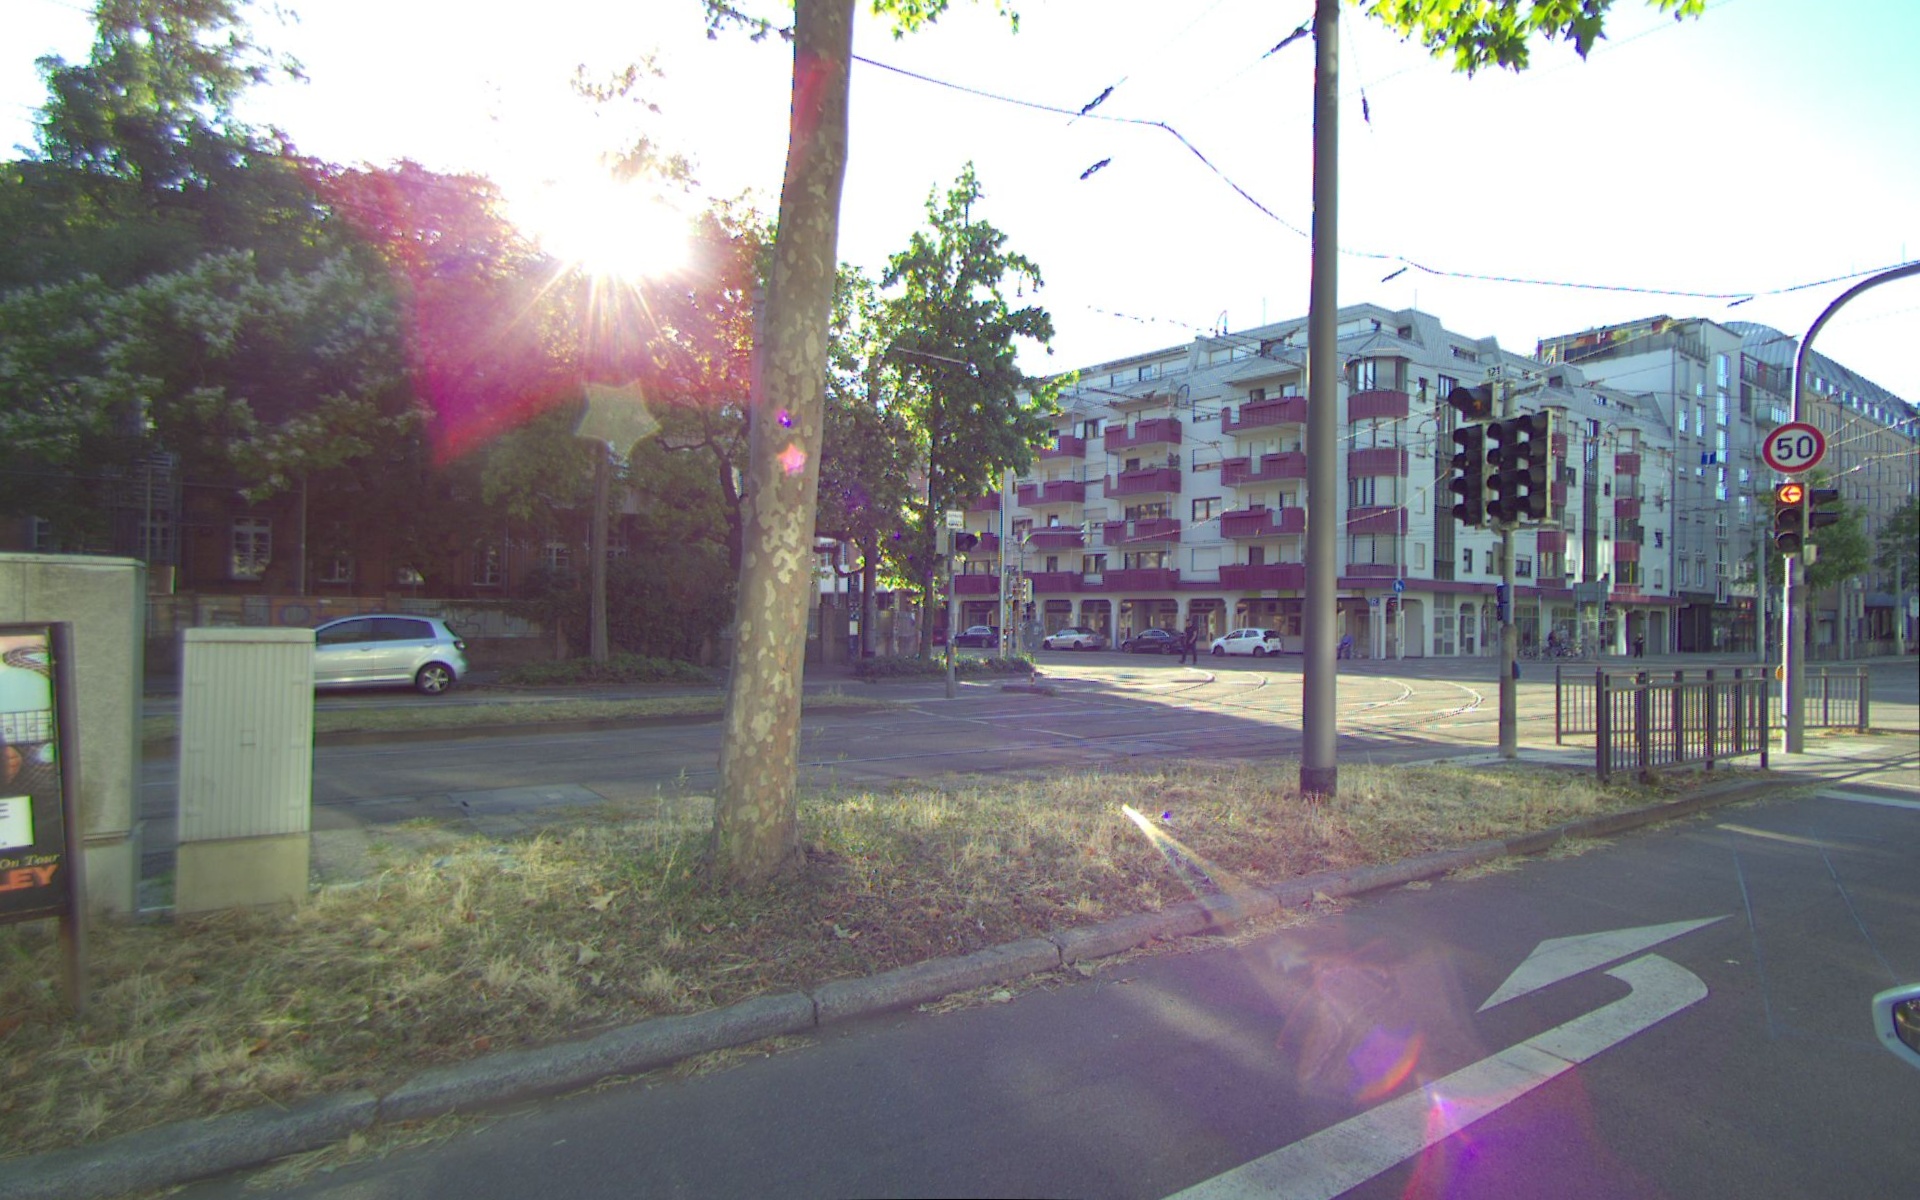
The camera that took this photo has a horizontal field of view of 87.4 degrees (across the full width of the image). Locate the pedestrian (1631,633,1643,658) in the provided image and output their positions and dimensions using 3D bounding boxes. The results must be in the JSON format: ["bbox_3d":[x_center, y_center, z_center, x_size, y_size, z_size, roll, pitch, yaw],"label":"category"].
[{"bbox_3d":[40.479,2.700,60.085,0.505,1.478,0.525,-1,-2,43],"label":"pedestrian"}]

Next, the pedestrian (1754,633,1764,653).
[{"bbox_3d":[59.846,3.205,75.231,0.523,1.478,0.507,1,-1,-37],"label":"pedestrian"}]

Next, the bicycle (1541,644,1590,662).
[{"bbox_3d":[31.452,2.745,52.223,0.523,0.835,2.153,1,-2,-37],"label":"bicycle"}]

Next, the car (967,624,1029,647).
[{"bbox_3d":[2.489,2.320,66.239,1.790,1.483,3.948,2,-2,-44],"label":"car"}]

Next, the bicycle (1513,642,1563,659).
[{"bbox_3d":[29.527,2.569,51.334,0.635,0.797,2.153,1,-2,-37],"label":"bicycle"}]

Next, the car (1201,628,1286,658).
[{"bbox_3d":[14.867,2.229,52.801,3.946,1.483,1.791,-2,-2,44],"label":"car"}]

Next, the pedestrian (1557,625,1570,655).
[{"bbox_3d":[34.728,2.315,57.800,0.523,1.721,0.507,1,-1,-37],"label":"pedestrian"}]

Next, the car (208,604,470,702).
[{"bbox_3d":[-11.988,0.979,19.510,4.140,1.711,1.979,1,-1,-37],"label":"car"}]

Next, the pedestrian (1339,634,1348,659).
[{"bbox_3d":[19.033,2.323,49.792,0.316,1.230,0.301,1,-2,-40],"label":"pedestrian"}]

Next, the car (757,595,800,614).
[{"bbox_3d":[-15.705,0.416,86.695,1.790,1.483,3.948,2,-2,-44],"label":"car"}]

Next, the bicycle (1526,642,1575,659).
[{"bbox_3d":[30.282,2.589,51.560,0.487,0.797,2.153,1,-2,-37],"label":"bicycle"}]

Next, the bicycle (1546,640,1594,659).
[{"bbox_3d":[31.948,2.573,52.632,0.487,0.963,2.153,1,-2,-37],"label":"bicycle"}]

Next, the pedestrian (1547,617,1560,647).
[{"bbox_3d":[34.462,1.869,58.315,0.523,1.721,0.507,1,-1,-37],"label":"pedestrian"}]

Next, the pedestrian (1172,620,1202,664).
[{"bbox_3d":[8.895,1.627,39.360,1.025,1.684,0.703,1,-2,-39],"label":"pedestrian"}]

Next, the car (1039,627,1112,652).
[{"bbox_3d":[6.991,2.378,61.094,1.790,1.483,4.215,2,-2,-44],"label":"car"}]

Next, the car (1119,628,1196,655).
[{"bbox_3d":[11.068,2.330,56.546,3.945,1.483,1.791,-2,-2,44],"label":"car"}]

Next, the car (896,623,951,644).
[{"bbox_3d":[-2.649,2.392,71.798,1.790,1.483,3.948,2,-2,-44],"label":"car"}]
